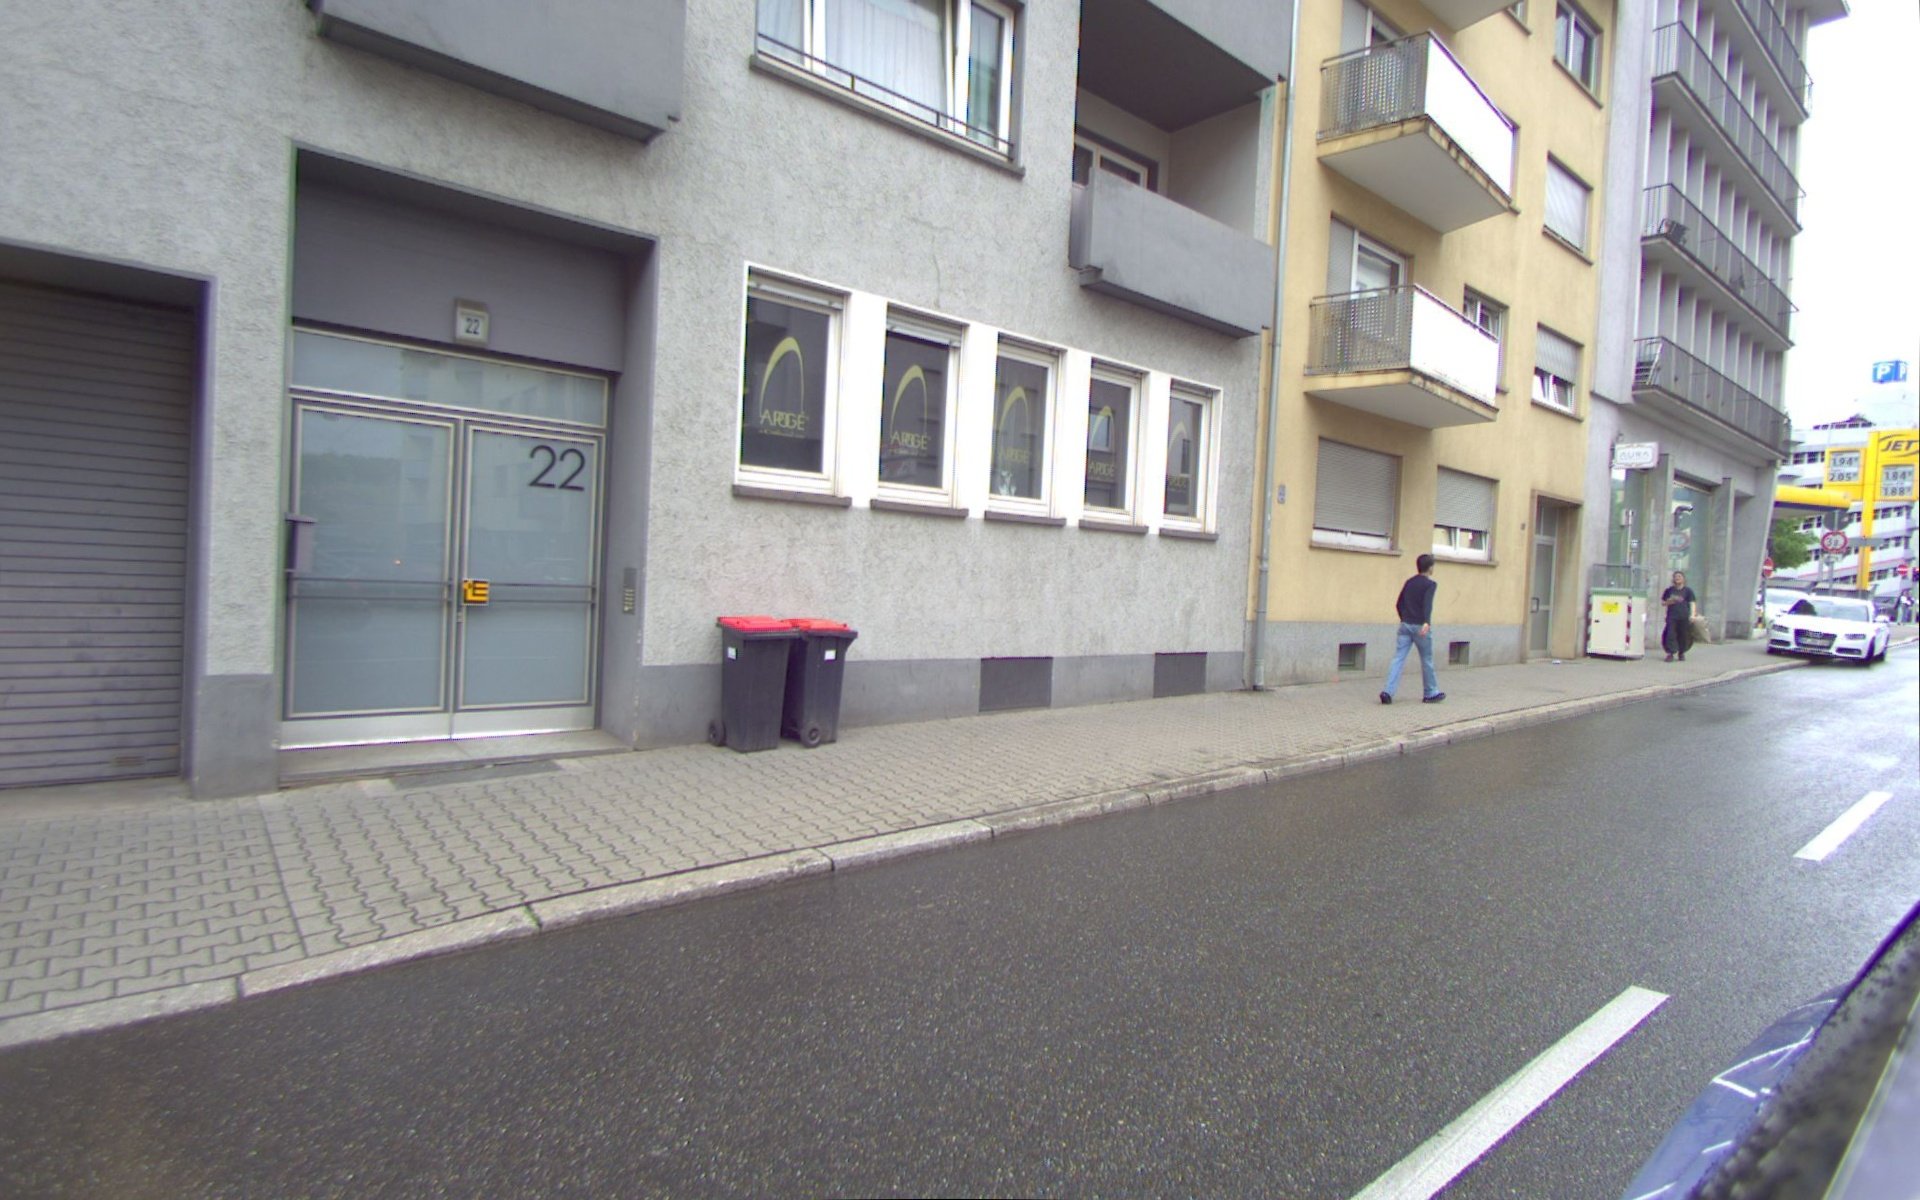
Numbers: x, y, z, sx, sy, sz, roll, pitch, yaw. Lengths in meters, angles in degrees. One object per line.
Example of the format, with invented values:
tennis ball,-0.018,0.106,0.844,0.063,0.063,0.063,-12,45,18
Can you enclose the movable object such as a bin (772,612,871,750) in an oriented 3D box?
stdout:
movable object such as a bin,-1.070,0.601,7.786,0.506,0.961,0.541,0,5,-40

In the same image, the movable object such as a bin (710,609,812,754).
movable object such as a bin,-1.466,0.573,7.437,0.506,0.967,0.541,0,5,-40

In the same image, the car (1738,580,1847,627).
car,27.876,0.108,34.032,1.752,1.492,3.969,0,0,23

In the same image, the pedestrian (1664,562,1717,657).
pedestrian,14.206,0.172,19.671,0.677,1.777,0.875,4,3,42

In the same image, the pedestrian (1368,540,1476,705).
pedestrian,5.371,0.235,11.761,1.038,1.799,0.644,0,5,-41

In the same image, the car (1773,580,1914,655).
car,20.125,0.347,23.002,4.093,1.453,1.803,0,4,-41
